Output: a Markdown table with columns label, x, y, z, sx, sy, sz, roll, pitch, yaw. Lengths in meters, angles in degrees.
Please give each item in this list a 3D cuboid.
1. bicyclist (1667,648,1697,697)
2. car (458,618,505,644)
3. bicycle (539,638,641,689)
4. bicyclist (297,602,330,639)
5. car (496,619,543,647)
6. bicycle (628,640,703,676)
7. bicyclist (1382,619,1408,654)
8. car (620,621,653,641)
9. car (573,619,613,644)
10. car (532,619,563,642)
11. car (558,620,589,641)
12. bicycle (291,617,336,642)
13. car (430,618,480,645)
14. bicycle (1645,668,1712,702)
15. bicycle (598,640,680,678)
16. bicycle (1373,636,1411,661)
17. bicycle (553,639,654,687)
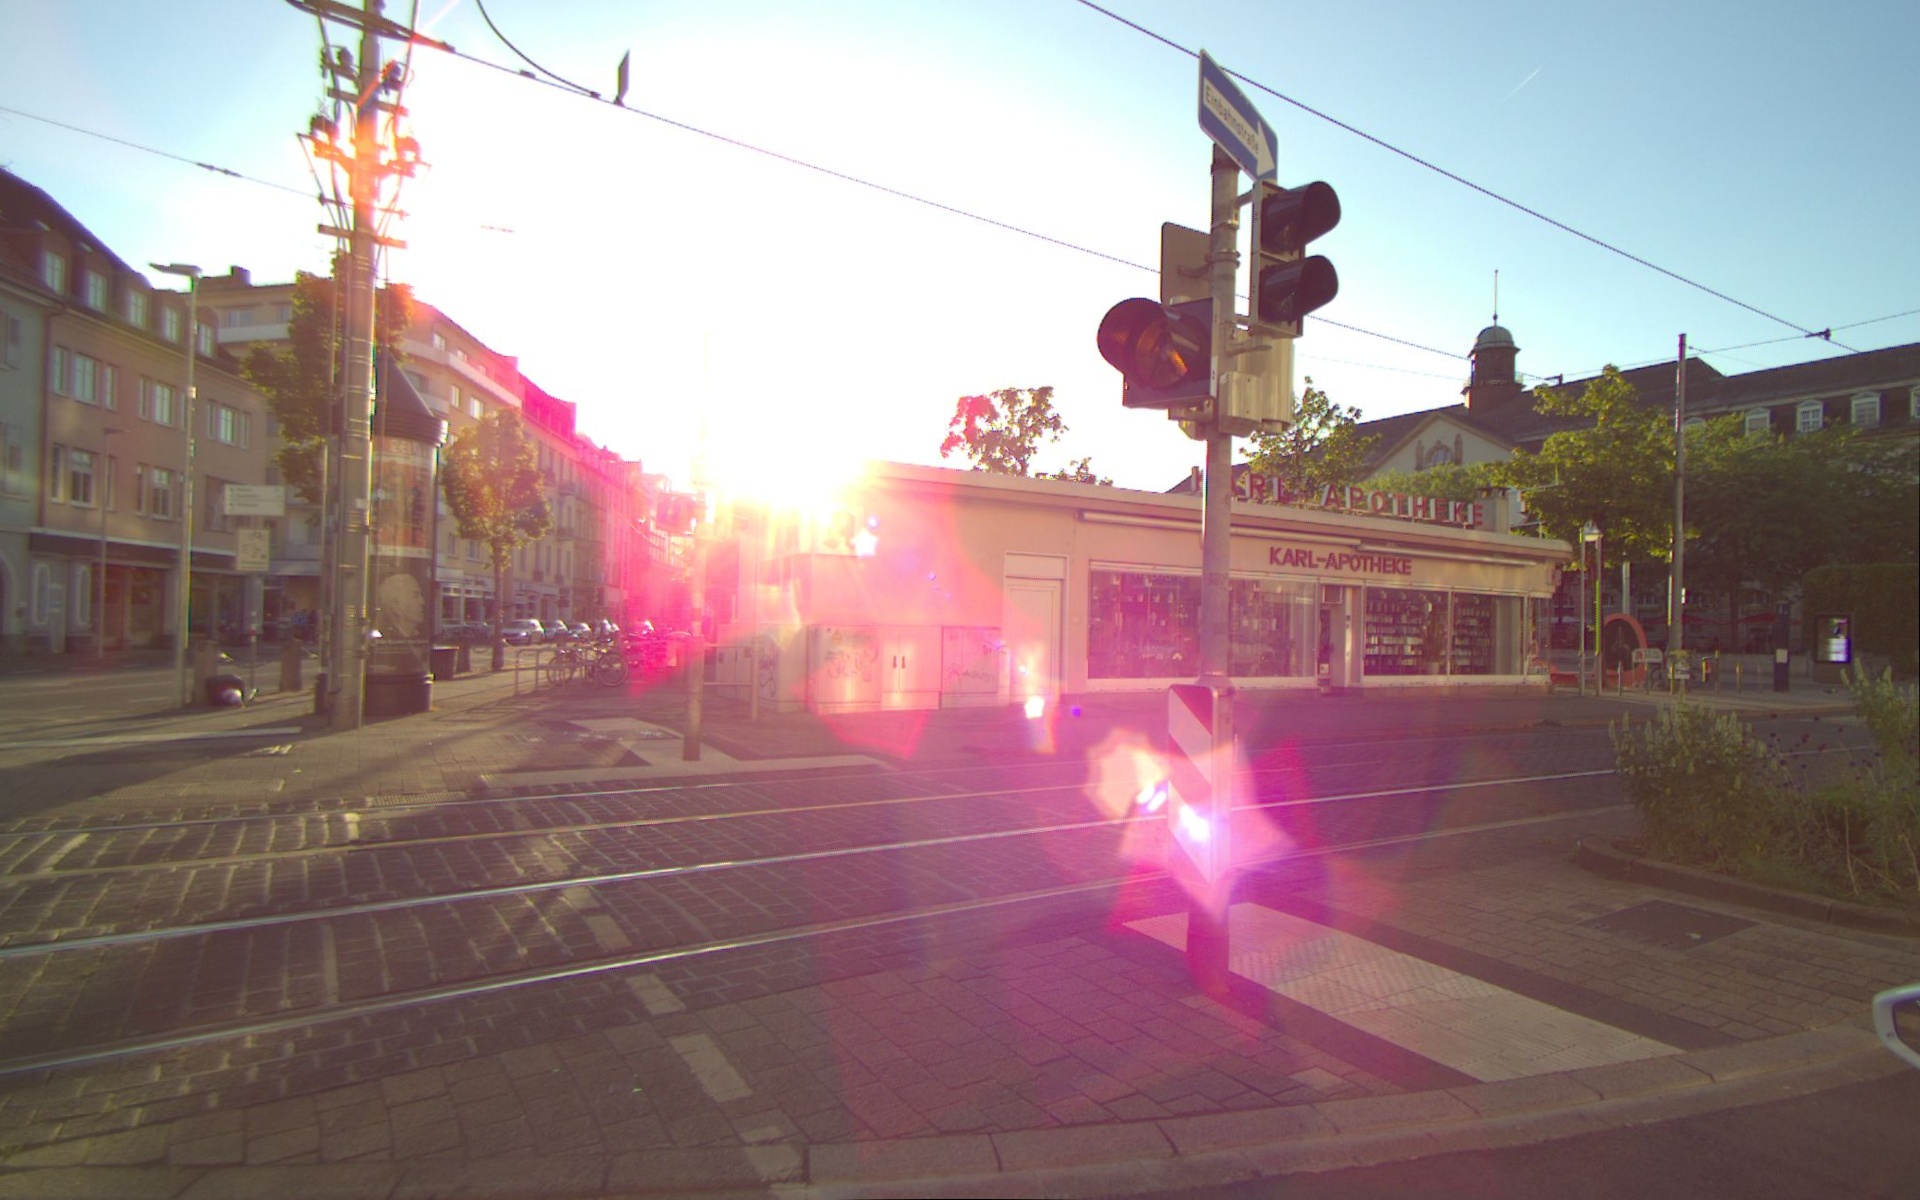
| label | x | y | z | sx | sy | sz | roll | pitch | yaw |
| --- | --- | --- | --- | --- | --- | --- | --- | --- | --- |
| bicyclist | 25.859 | 2.587 | 35.961 | 0.690 | 1.690 | 0.628 | 2 | -2 | 19 |
| car | -29.104 | 1.900 | 61.159 | 1.521 | 1.488 | 3.349 | 2 | -3 | -7 |
| bicycle | -8.097 | 1.387 | 22.004 | 1.986 | 1.058 | 0.560 | 1 | -2 | 1 |
| bicyclist | -33.547 | 1.068 | 52.116 | 1.110 | 1.814 | 0.765 | 2 | -2 | 8 |
| car | -25.103 | 1.916 | 57.366 | 1.521 | 1.487 | 3.349 | 2 | -3 | -7 |
| bicycle | -8.587 | 1.692 | 29.321 | 2.004 | 0.989 | 0.560 | 1 | -2 | 1 |
| bicyclist | 26.482 | 2.231 | 61.103 | 1.130 | 2.044 | 0.954 | 4 | -3 | -31 |
| car | -29.184 | 2.777 | 90.707 | 1.962 | 1.706 | 3.998 | 1 | -2 | -5 |
| car | -25.581 | 2.241 | 70.082 | 1.701 | 1.608 | 3.912 | 3 | -3 | -7 |
| car | -29.882 | 2.207 | 72.824 | 1.287 | 1.603 | 2.886 | 2 | -2 | -7 |
| car | -30.169 | 2.389 | 78.471 | 1.460 | 1.579 | 3.256 | 2 | -3 | -7 |
| bicycle | -33.496 | 1.525 | 52.076 | 2.081 | 1.219 | 0.501 | 2 | -2 | 9 |
| car | -28.876 | 1.790 | 57.522 | 1.521 | 1.503 | 3.348 | 1 | -2 | -7 |
| bicycle | 25.732 | 3.040 | 36.005 | 1.898 | 1.126 | 0.461 | 2 | -3 | 20 |
| bicycle | -8.878 | 1.629 | 27.816 | 2.043 | 0.995 | 0.560 | 1 | -2 | 1 |
| bicycle | 26.317 | 2.951 | 61.211 | 0.573 | 1.495 | 2.230 | 3 | -2 | -31 |
| bicycle | -8.201 | 1.453 | 23.154 | 2.111 | 1.057 | 0.560 | 1 | -2 | 1 |
